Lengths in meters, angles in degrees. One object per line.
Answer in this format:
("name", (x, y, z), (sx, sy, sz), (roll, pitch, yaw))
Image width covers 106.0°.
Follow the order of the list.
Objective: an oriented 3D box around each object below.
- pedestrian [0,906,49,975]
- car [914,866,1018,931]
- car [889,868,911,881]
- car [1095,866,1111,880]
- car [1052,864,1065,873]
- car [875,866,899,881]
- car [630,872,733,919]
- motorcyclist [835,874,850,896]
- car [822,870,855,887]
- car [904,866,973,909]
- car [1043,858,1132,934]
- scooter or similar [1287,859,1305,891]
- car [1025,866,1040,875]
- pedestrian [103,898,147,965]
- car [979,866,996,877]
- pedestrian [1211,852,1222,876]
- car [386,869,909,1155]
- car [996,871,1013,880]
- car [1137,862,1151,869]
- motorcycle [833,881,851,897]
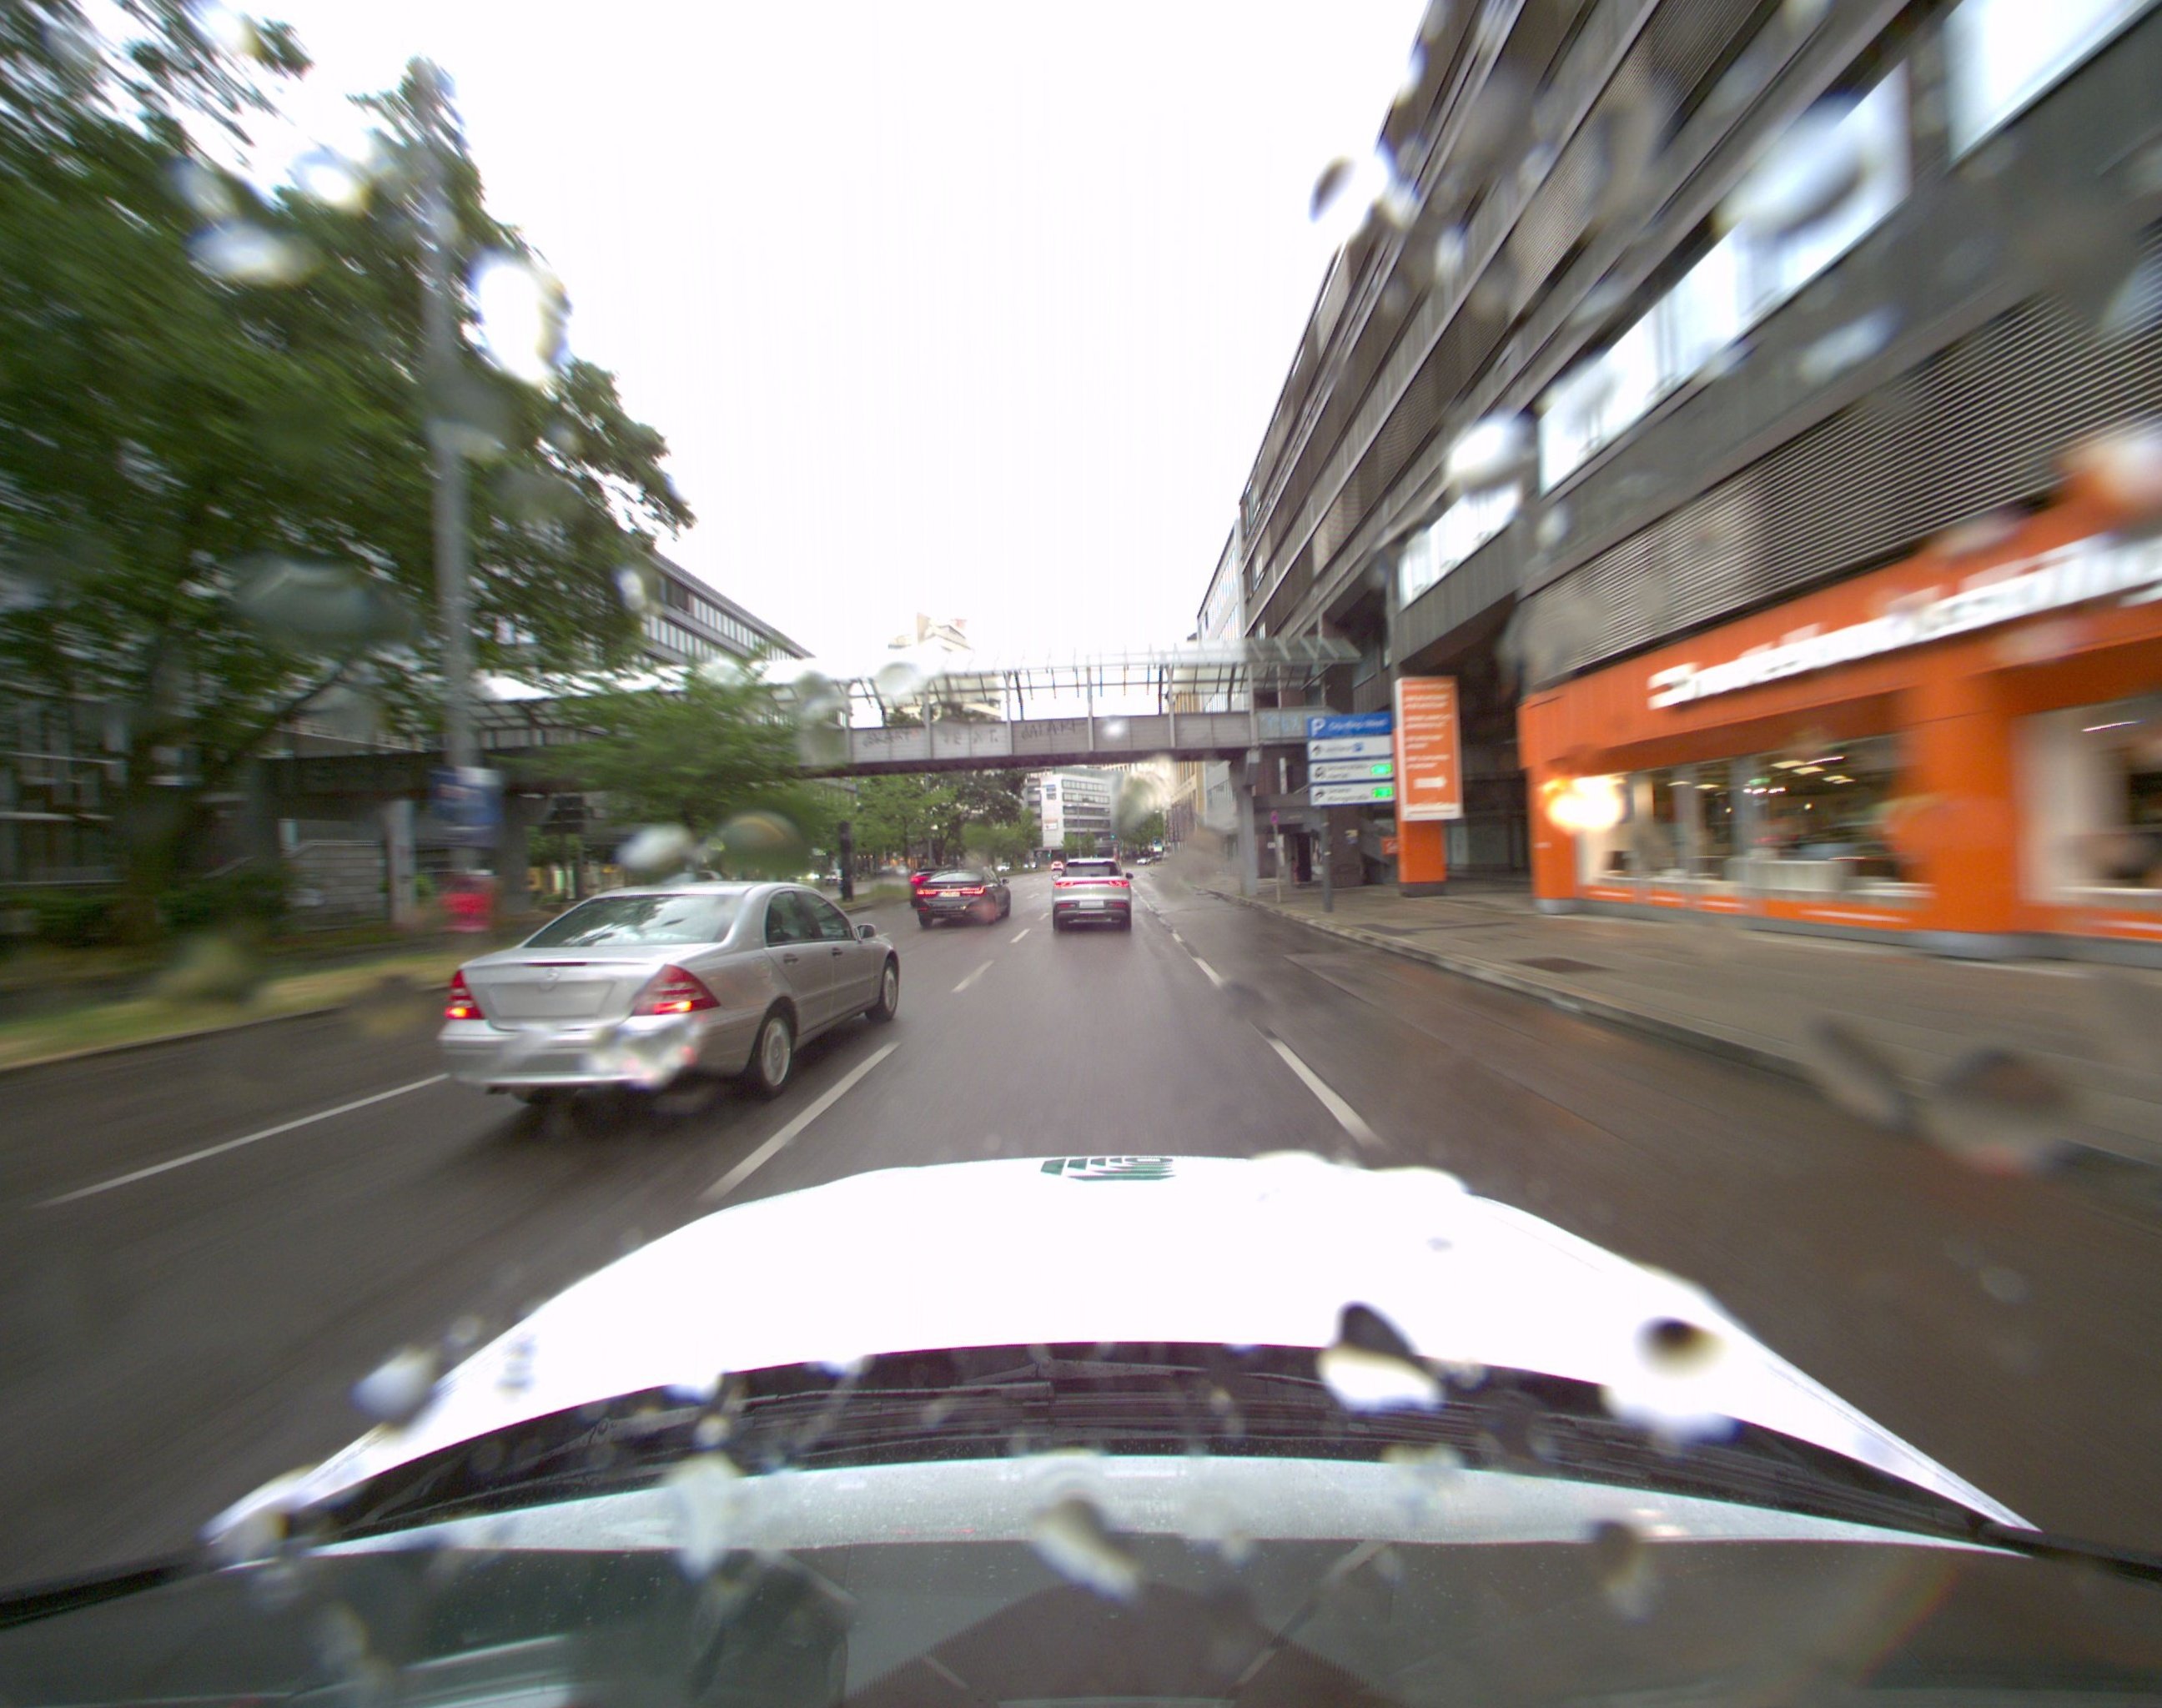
("pedestrian", (-27.090, 2.203, 20.881), (0.557, 1.686, 0.511), (-2, -1, 1))
("car", (-2.974, 1.121, 22.147), (1.865, 1.479, 4.881), (-2, -1, 3))
("car", (-21.469, 2.377, 96.721), (1.618, 1.460, 3.962), (-1, -1, 0))
("car", (2.720, 2.290, 100.210), (1.803, 1.578, 4.004), (-2, -1, 4))
("car", (-3.470, 2.309, 127.194), (1.646, 1.342, 4.003), (-2, -1, 3))
("car", (-21.587, 2.175, 90.704), (1.618, 1.611, 4.231), (-1, -1, 0))
("car", (-18.032, 1.818, 37.111), (1.994, 1.768, 5.183), (-5, -1, 0))
("motorcyclist", (-15.975, 2.072, 54.562), (0.635, 1.418, 0.970), (-2, -2, 2))
("car", (-21.935, 2.243, 73.960), (1.618, 1.433, 4.444), (-2, -1, 0))
("car", (-5.406, 1.260, 31.359), (1.767, 1.457, 4.001), (-3, -1, 2))
("car", (0.193, 0.949, 19.784), (1.894, 1.621, 4.001), (-2, -1, 1))
("scooter or similar", (8.686, 0.828, 32.870), (0.348, 1.256, 1.395), (-2, -1, 2))
("car", (-9.075, 3.081, 152.445), (1.612, 1.453, 4.177), (-3, -1, 13))
("pedestrian", (-26.781, 2.174, 22.821), (0.603, 1.808, 0.511), (-2, -1, 1))
("car", (-12.425, 2.361, 108.181), (1.617, 1.311, 3.618), (-3, -1, 1))
("pedestrian", (10.338, 0.749, 62.148), (0.633, 1.772, 0.790), (-2, -2, 2))
("car", (-2.768, 0.887, 6.493), (1.666, 1.479, 4.362), (-1, -1, 2))
("car", (-12.715, 3.563, 135.542), (1.614, 1.492, 4.317), (-3, -1, 9))
("car", (15.066, 2.853, 195.490), (1.565, 1.539, 4.025), (-2, -1, 32))
("motorcycle", (-15.967, 2.327, 54.520), (0.582, 1.021, 1.806), (-2, -1, 2))
